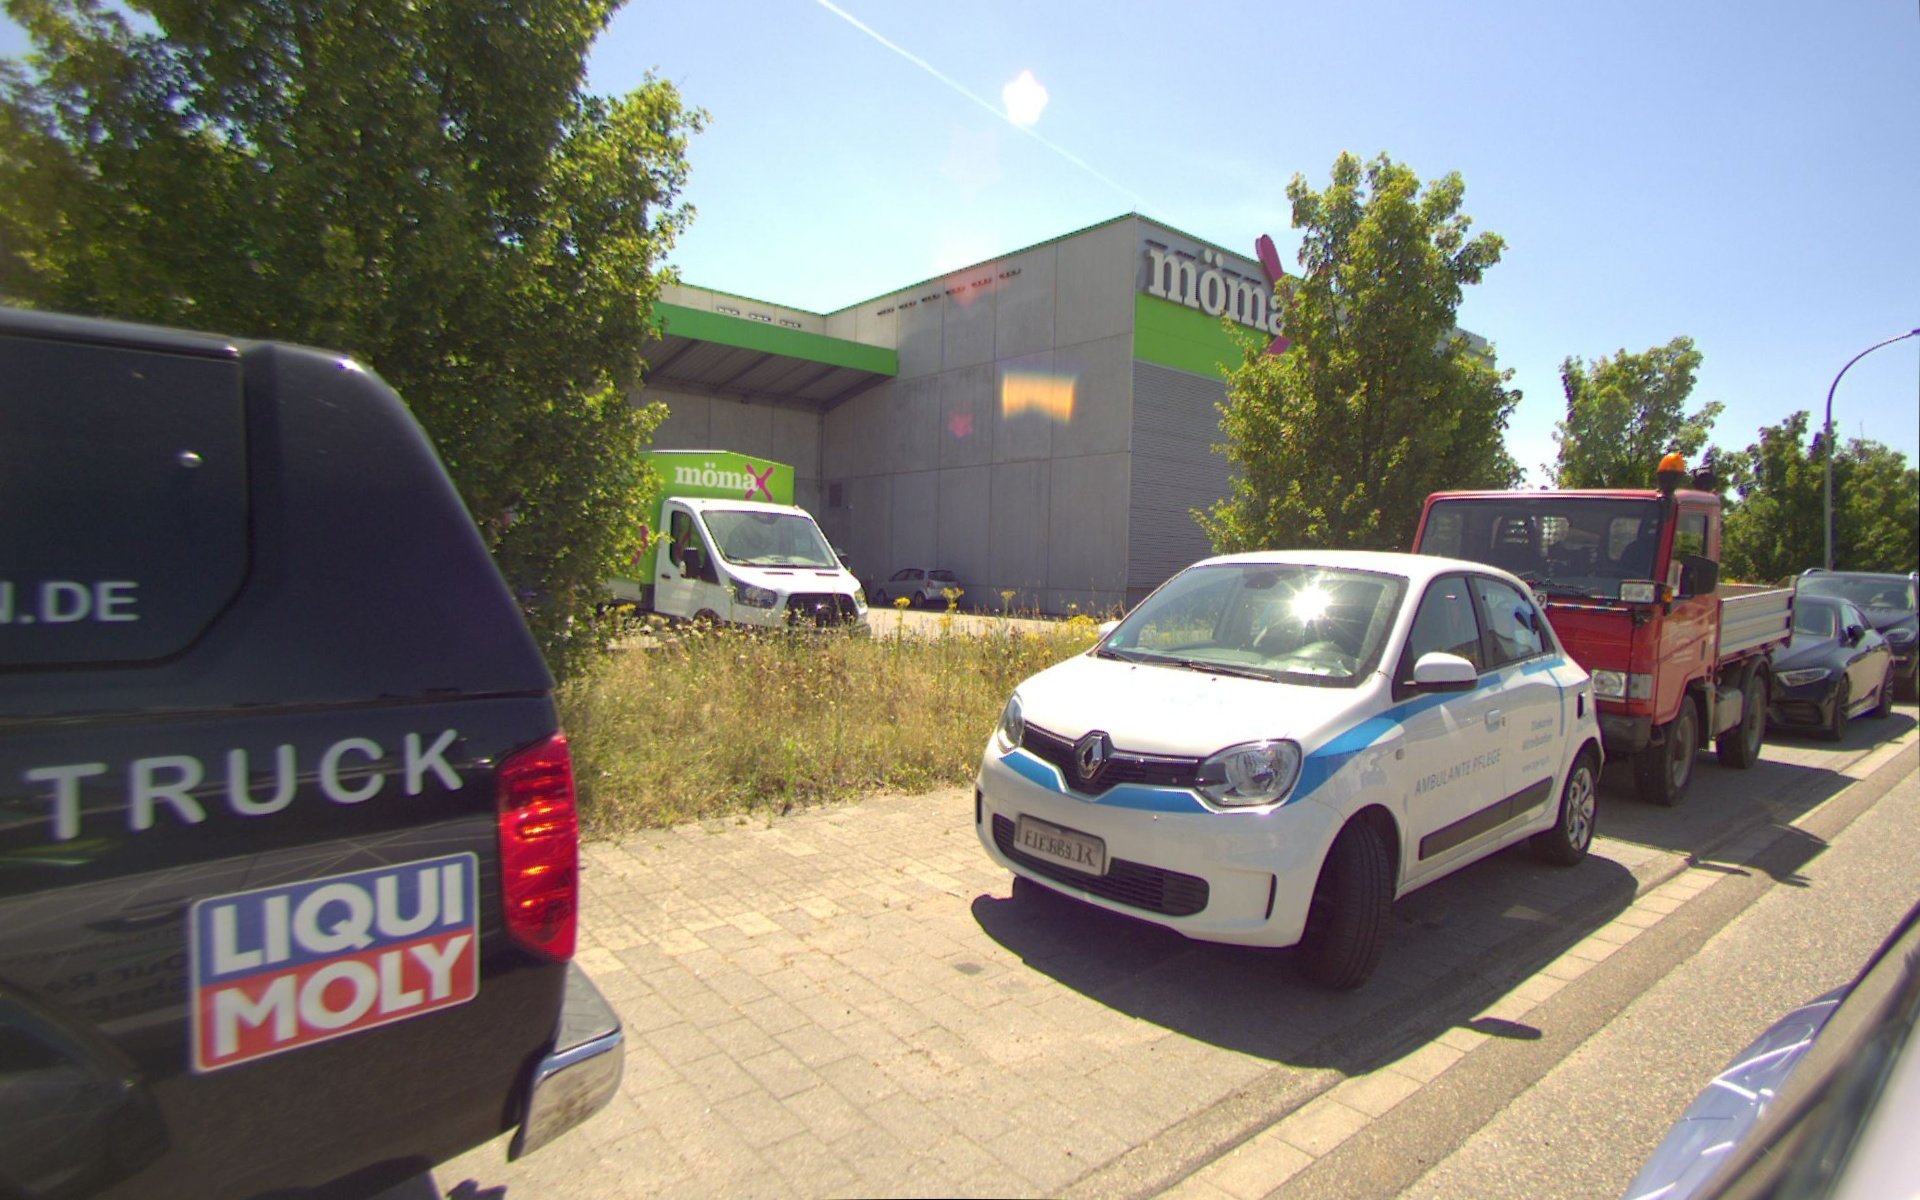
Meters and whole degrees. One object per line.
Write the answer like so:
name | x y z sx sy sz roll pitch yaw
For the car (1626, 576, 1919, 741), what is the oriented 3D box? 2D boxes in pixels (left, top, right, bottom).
car | 9.281 0.504 11.346 4.751 1.400 1.702 0 4 -40

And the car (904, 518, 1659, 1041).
car | 1.820 0.477 4.988 3.931 1.549 1.742 0 4 -42

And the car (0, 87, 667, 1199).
car | -3.056 0.345 0.759 5.064 1.907 1.998 0 3 -40

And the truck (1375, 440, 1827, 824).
truck | 5.142 0.117 7.860 4.313 2.207 1.683 0 4 -41

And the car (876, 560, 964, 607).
car | -1.502 -0.625 36.610 1.521 1.552 3.399 0 3 -36

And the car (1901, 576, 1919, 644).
car | 26.819 0.318 26.966 4.464 1.721 1.954 0 3 -40

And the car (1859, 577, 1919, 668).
car | 17.933 0.404 18.559 4.694 1.501 1.716 0 4 -44

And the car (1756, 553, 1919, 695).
car | 13.529 0.290 14.910 4.688 1.746 1.816 0 3 -40

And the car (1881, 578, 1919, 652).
car | 21.912 0.354 22.436 4.694 1.501 1.807 0 4 -44

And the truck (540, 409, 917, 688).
truck | -3.365 -0.679 13.523 2.267 2.907 5.911 0 3 -42
